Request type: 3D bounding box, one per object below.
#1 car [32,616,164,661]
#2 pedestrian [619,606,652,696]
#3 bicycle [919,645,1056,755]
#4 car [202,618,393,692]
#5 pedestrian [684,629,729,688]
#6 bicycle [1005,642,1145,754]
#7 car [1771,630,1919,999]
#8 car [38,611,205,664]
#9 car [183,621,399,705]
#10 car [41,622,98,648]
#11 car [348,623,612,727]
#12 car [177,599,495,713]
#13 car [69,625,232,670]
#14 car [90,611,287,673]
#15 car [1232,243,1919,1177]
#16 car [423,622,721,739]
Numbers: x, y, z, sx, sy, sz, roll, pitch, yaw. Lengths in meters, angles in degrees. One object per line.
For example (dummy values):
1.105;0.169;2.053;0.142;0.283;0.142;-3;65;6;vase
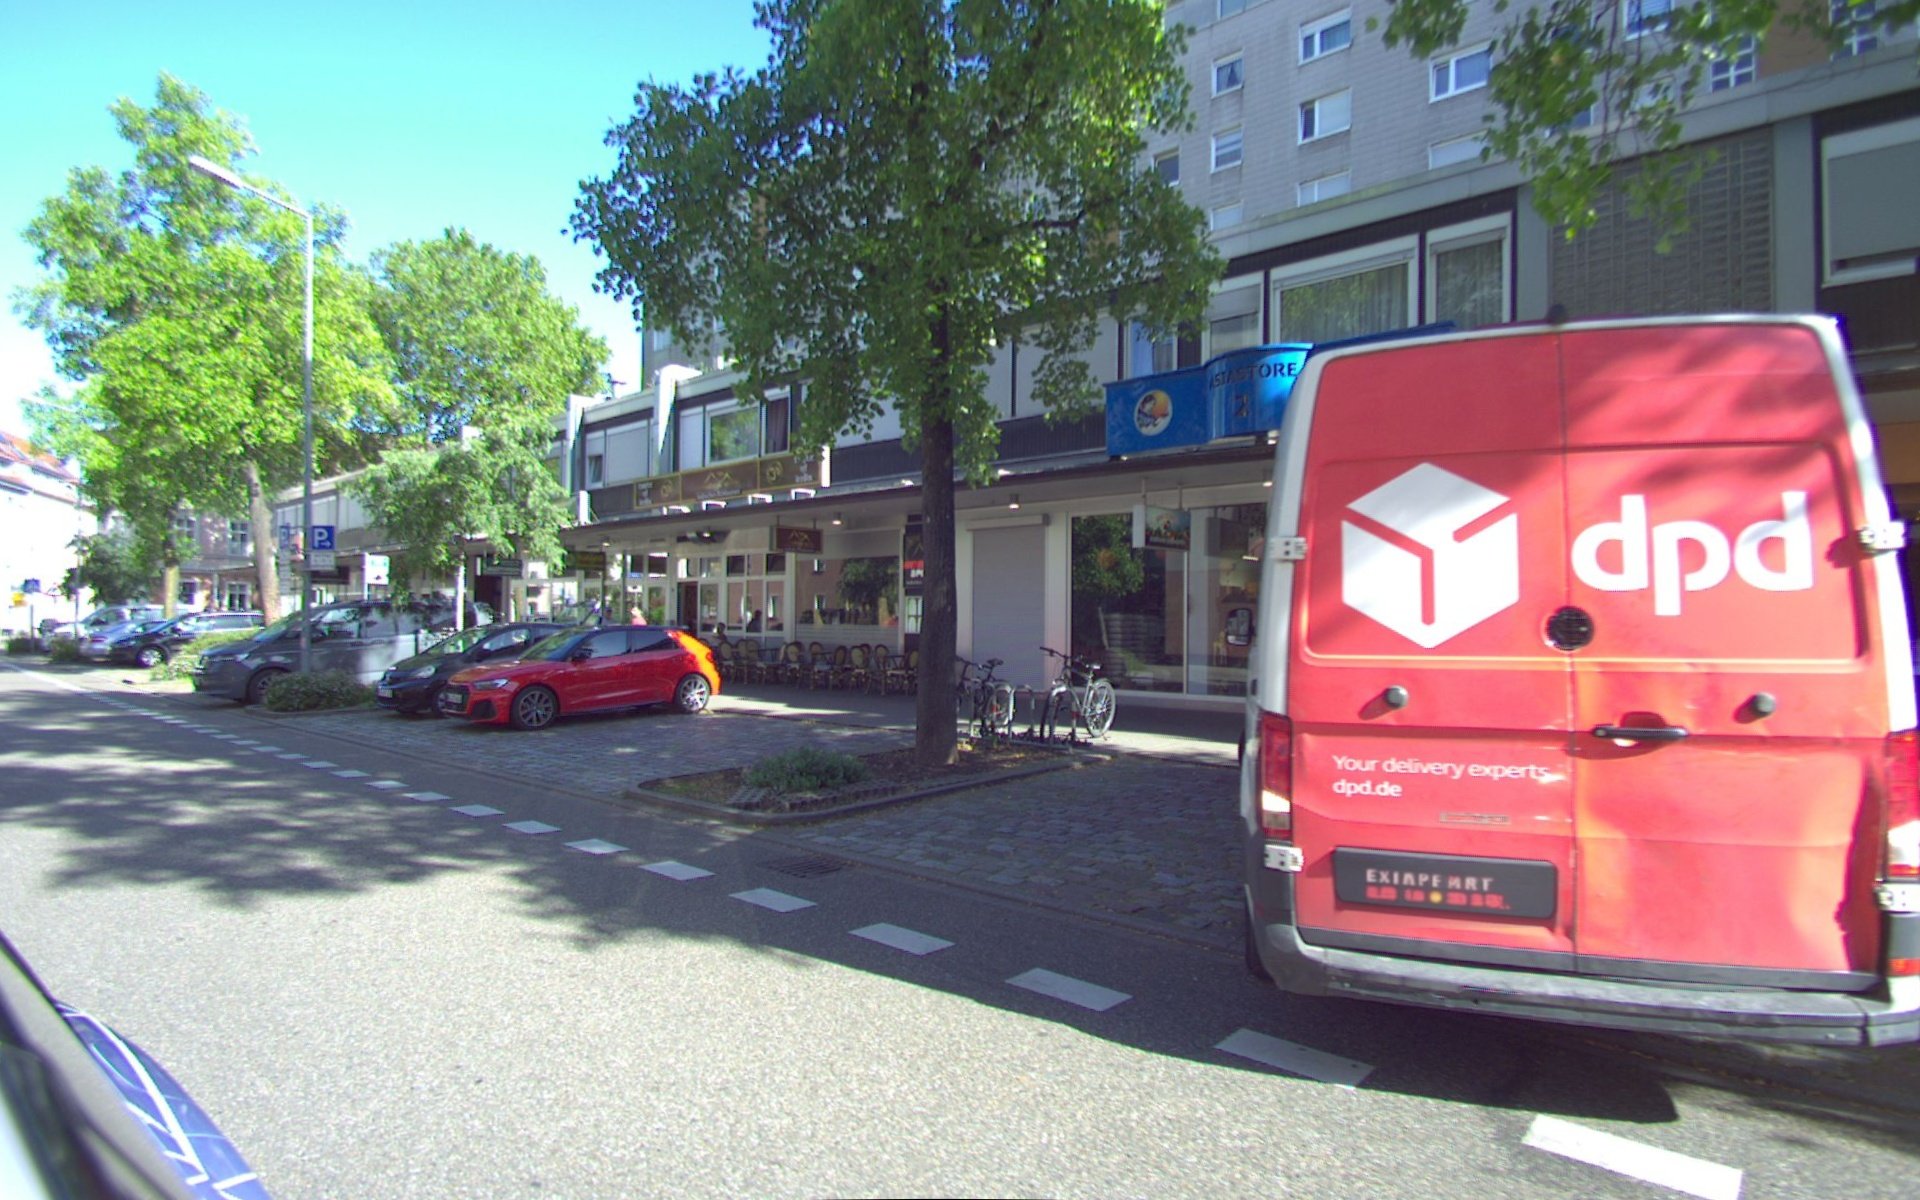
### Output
-35.757;1.577;42.062;1.756;1.805;3.945;-1;-2;41;car
-6.321;0.980;19.708;0.571;1.725;0.637;1;-2;-20;pedestrian
0.352;1.140;12.024;0.623;1.125;1.700;-1;0;45;bicycle
-15.810;1.255;24.264;1.672;1.573;3.548;-1;-1;42;car
-5.545;1.256;22.138;0.746;1.255;0.642;-1;-2;42;pedestrian
1.361;1.089;11.719;0.587;1.115;1.847;-1;0;45;bicycle
5.329;0.891;5.075;1.831;1.431;3.556;-1;-1;41;car
-33.576;1.434;40.649;1.908;1.984;4.932;-1;-1;40;car
-14.078;1.260;21.433;1.661;1.566;3.520;-1;-1;41;car
-58.756;2.287;66.846;1.645;1.650;4.061;1;-2;-24;car
-7.860;1.142;16.820;1.611;1.461;3.630;-1;-1;38;car
-12.004;0.967;19.787;1.872;1.953;4.978;-1;-1;41;car
-26.732;1.536;33.531;1.758;1.409;3.947;-1;-2;40;car
-24.470;1.282;32.259;1.872;1.790;4.720;-1;-1;40;car
2.701;0.373;6.080;1.981;2.493;6.572;0;-2;15;car
-5.722;1.102;15.275;1.709;1.462;3.877;-1;-1;41;car
